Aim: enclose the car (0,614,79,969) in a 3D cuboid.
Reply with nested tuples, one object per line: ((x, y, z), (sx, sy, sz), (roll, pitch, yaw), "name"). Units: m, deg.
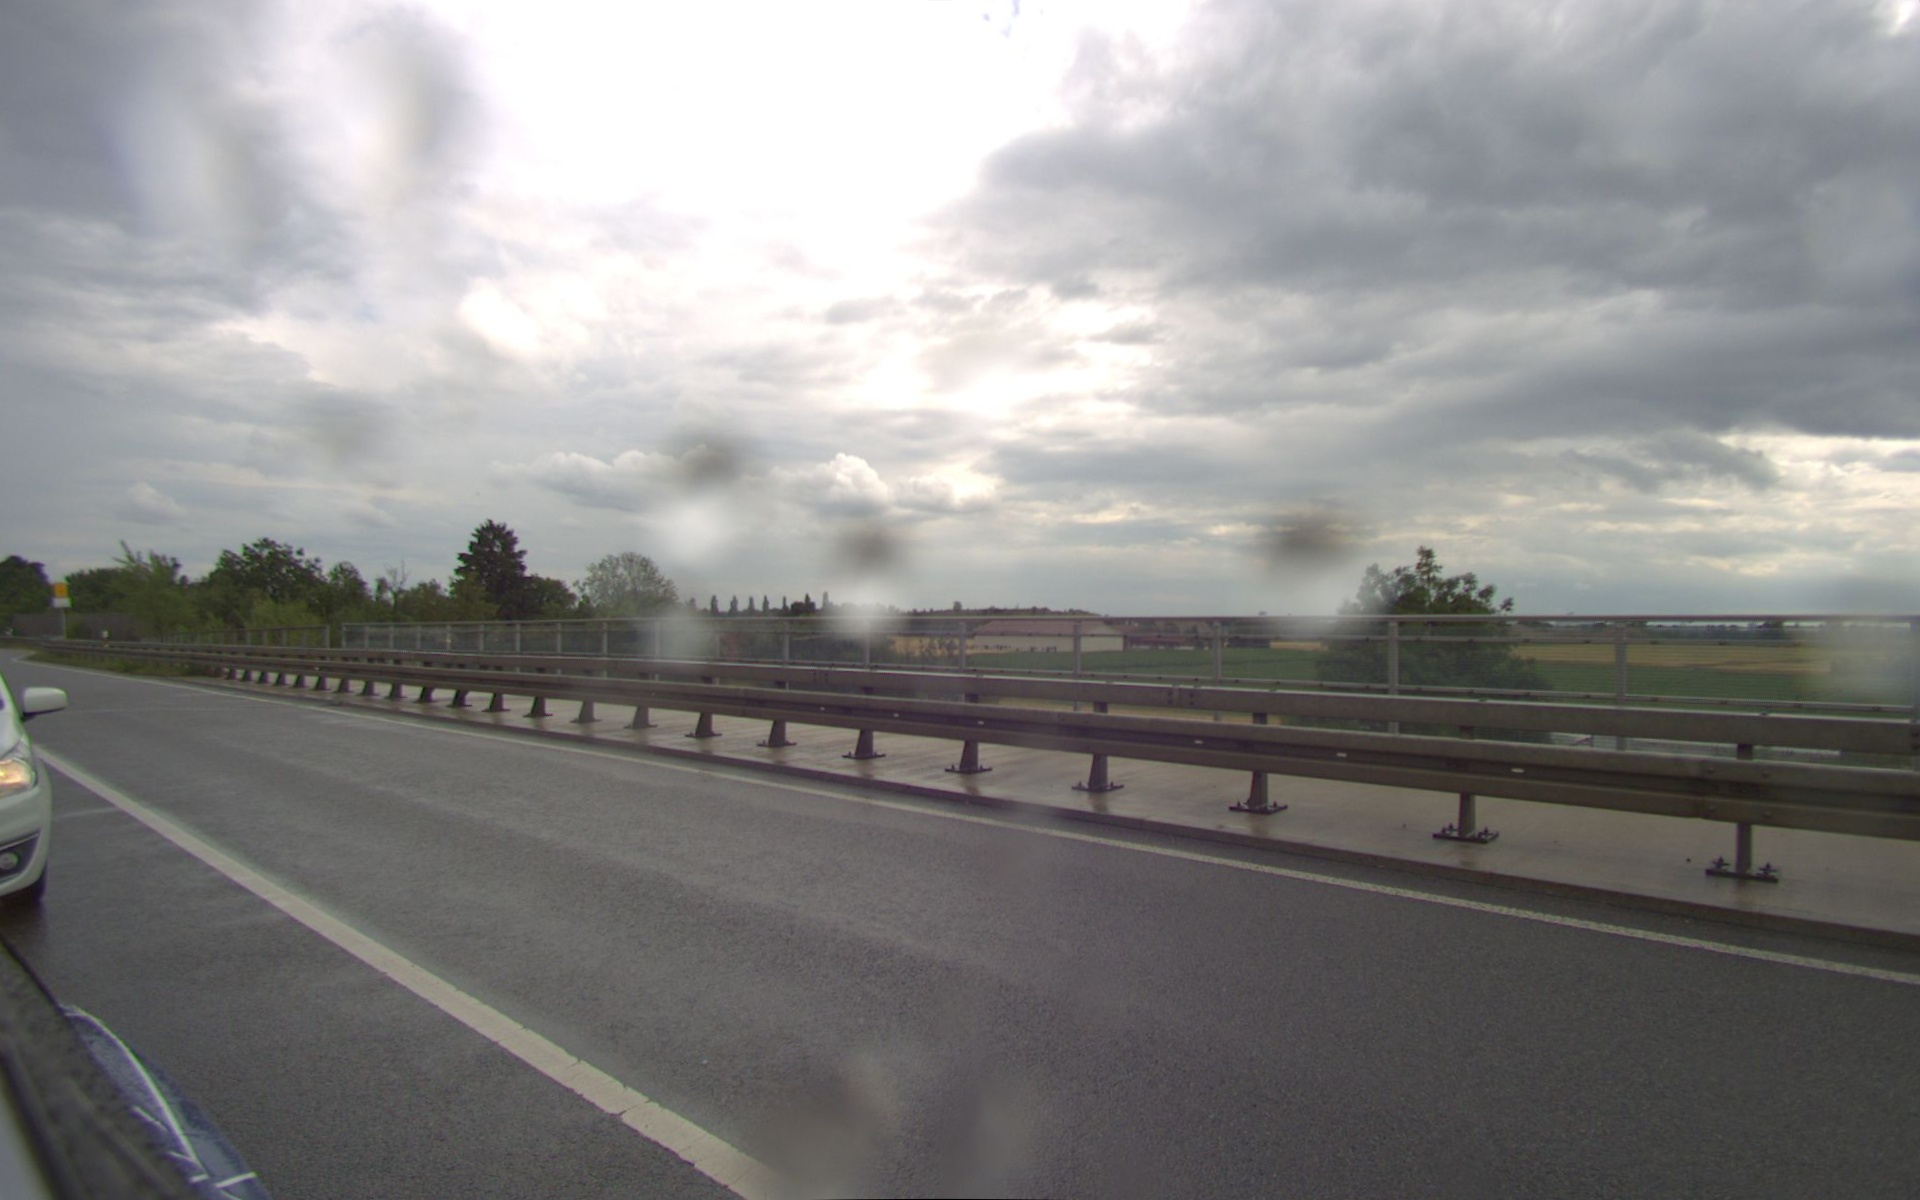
((-5.993, 0.839, 5.216), (4.127, 1.496, 1.653), (-1, 0, 41), "car")
